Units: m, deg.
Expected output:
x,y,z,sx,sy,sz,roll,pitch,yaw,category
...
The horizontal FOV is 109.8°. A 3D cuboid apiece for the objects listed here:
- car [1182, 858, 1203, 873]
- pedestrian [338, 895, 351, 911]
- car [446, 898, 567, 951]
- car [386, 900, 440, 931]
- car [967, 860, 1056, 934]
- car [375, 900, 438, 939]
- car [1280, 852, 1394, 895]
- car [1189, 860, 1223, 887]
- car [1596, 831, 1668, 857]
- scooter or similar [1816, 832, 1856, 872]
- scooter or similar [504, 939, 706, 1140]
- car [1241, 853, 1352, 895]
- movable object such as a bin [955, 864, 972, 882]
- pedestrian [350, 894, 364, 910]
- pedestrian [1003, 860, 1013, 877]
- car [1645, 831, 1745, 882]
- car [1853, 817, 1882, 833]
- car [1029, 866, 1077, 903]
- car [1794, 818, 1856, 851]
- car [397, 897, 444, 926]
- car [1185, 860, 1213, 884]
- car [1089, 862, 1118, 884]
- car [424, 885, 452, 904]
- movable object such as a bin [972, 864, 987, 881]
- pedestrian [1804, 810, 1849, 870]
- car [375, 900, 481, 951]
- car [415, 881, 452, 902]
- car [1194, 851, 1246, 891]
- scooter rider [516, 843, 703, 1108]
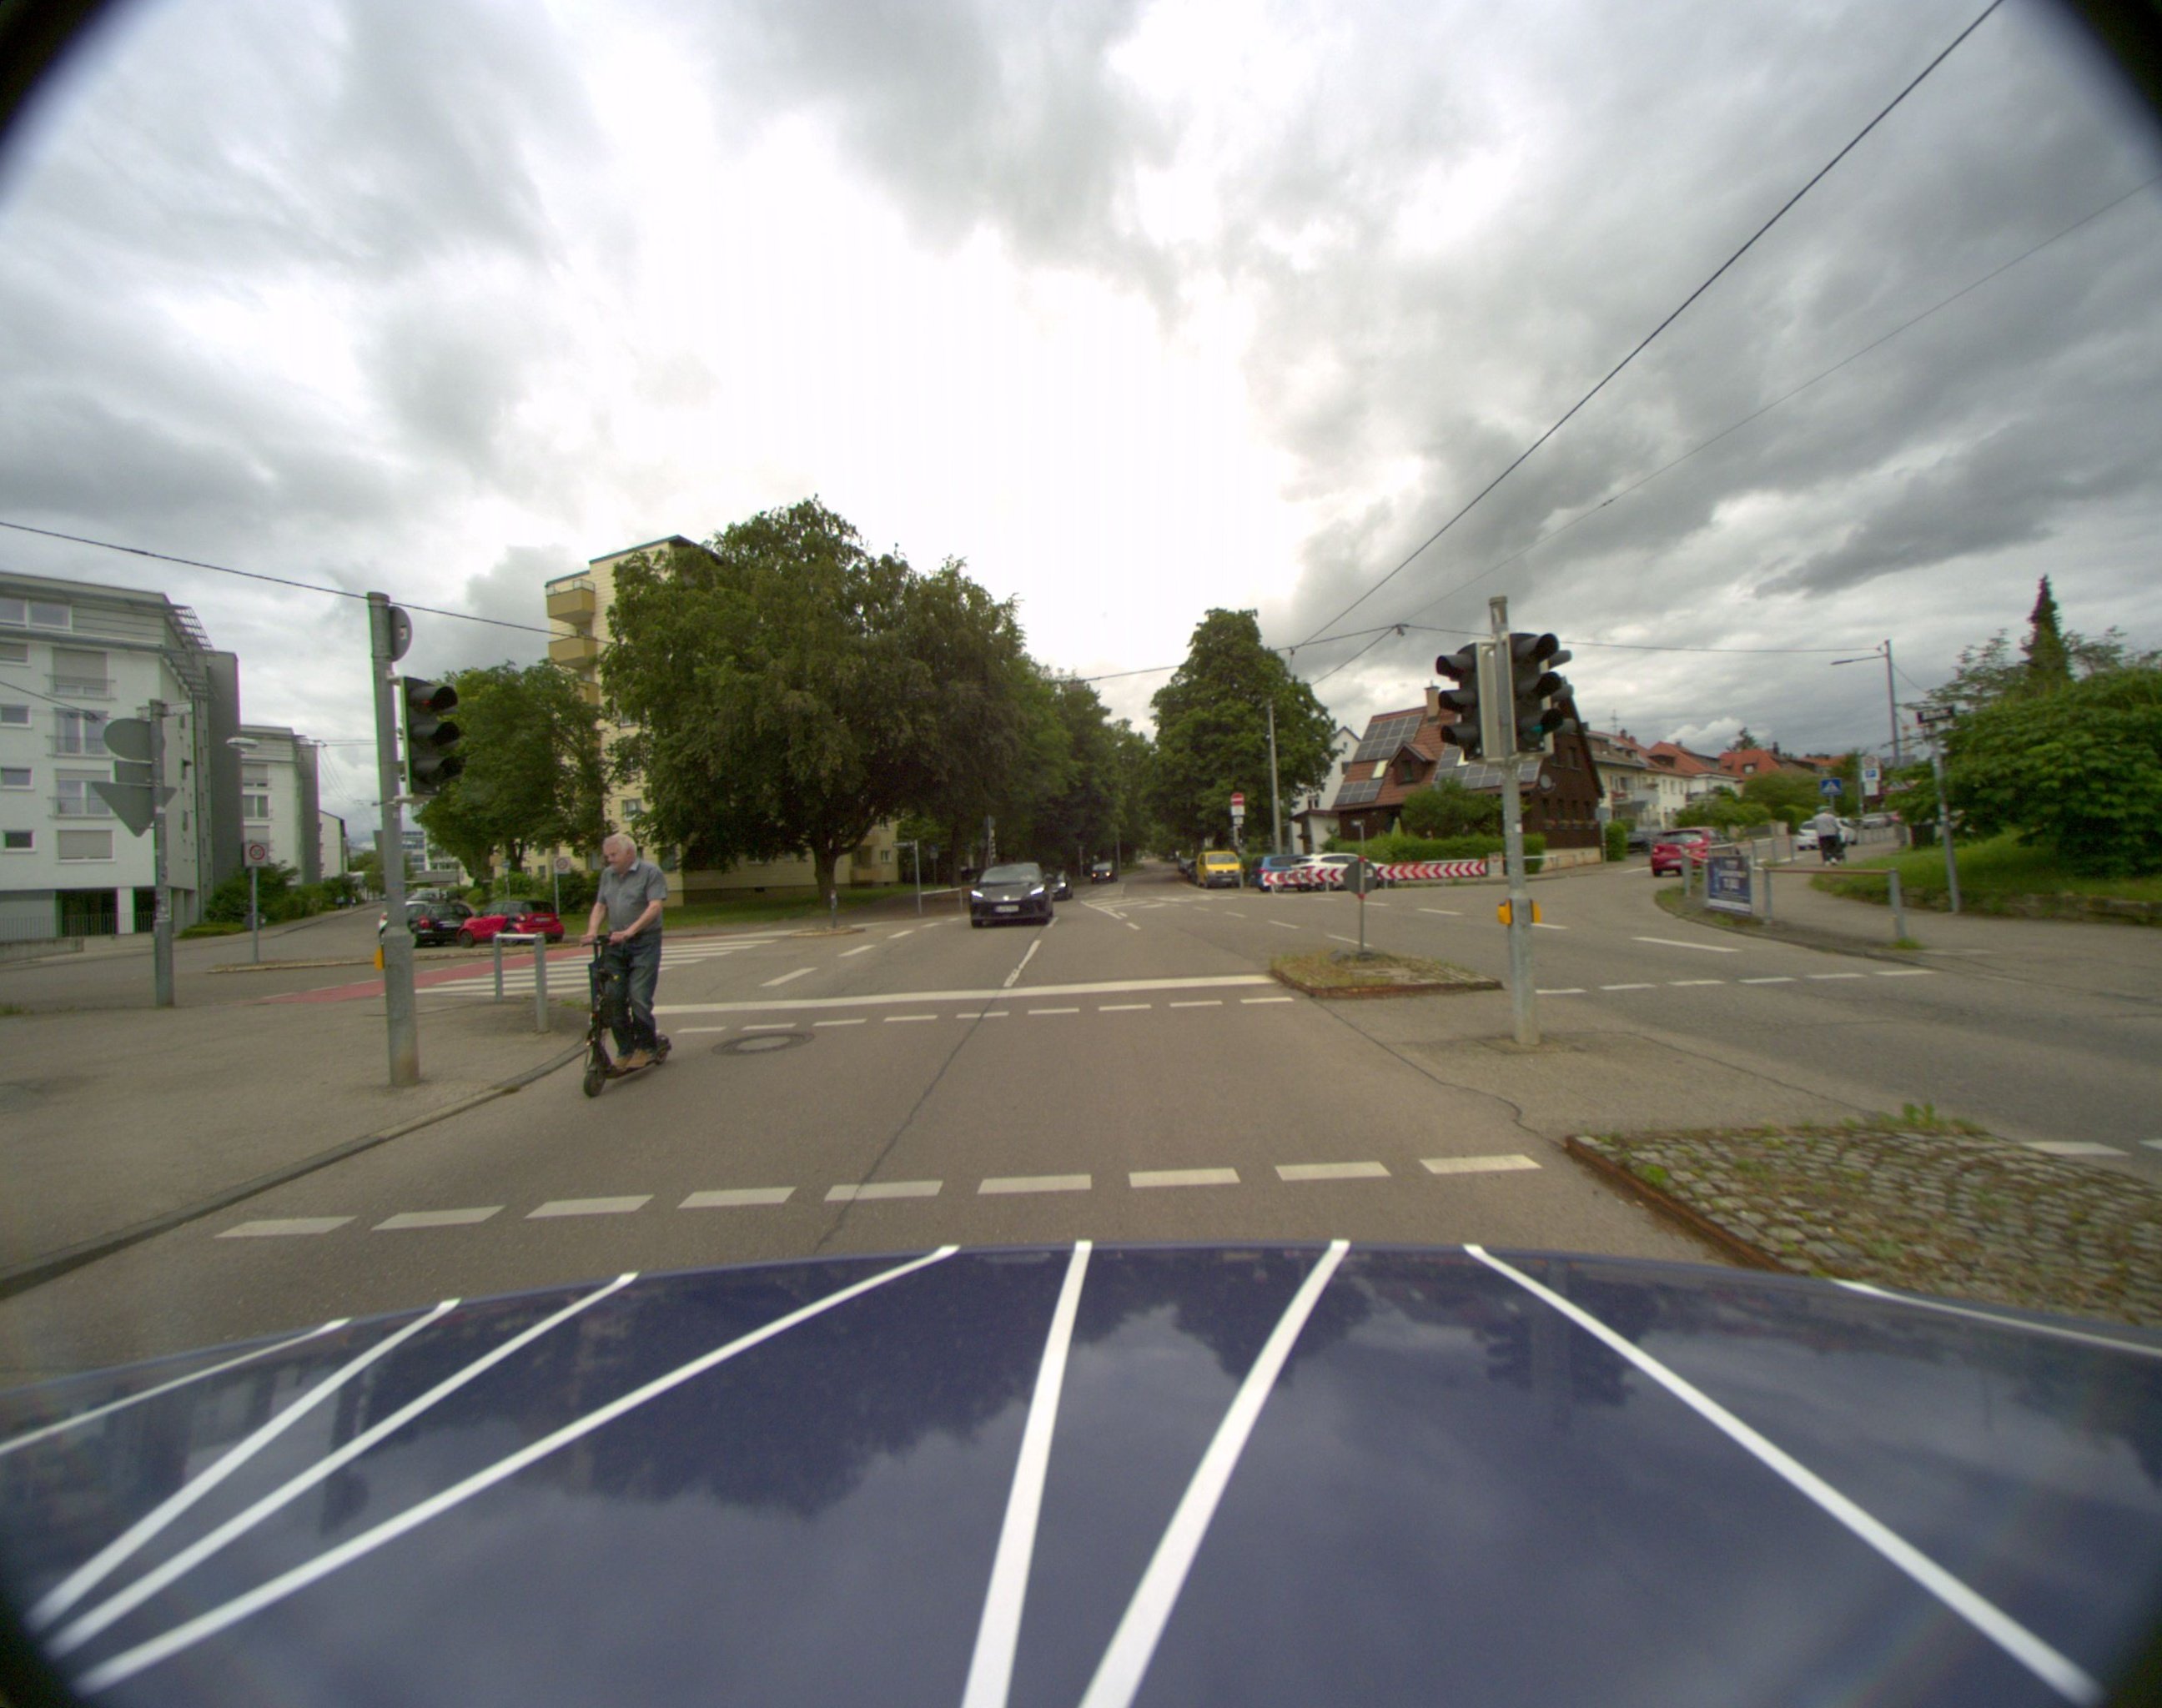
x,y,z,sx,sy,sz,roll,pitch,yaw,category
10.689,1.080,72.388,1.851,1.368,4.597,-3,-1,9,car
-70.251,4.662,72.459,0.710,1.482,0.710,-4,1,35,pedestrian
-19.223,2.340,25.482,2.916,1.497,1.698,-4,-2,12,car
-34.018,3.100,38.767,1.798,1.346,4.061,-2,-1,-38,car
-1.618,1.016,18.976,1.804,1.541,4.299,-3,-2,-1,car
-30.077,2.881,33.982,1.798,1.425,4.061,-2,-1,-38,car
10.270,0.789,30.613,3.905,1.463,1.844,-3,-1,-11,car
7.695,1.172,46.994,1.749,1.442,4.515,-3,0,6,car
36.040,-0.635,49.756,1.594,1.480,3.434,-2,-2,-39,car
22.312,-0.062,22.448,0.891,1.088,0.611,-5,1,-33,scooter or similar
-3.433,1.276,5.642,0.683,1.132,1.459,-3,-1,-8,scooter or similar
9.269,0.870,32.885,4.177,1.537,1.845,-3,-1,-3,car
-11.512,1.857,74.687,1.434,1.633,1.020,-1,1,4,movable object such as a bin
-69.935,4.631,73.395,0.710,1.482,0.710,-4,1,36,pedestrian
-6.296,1.250,65.545,0.688,1.373,0.606,-3,1,7,pedestrian
19.895,0.069,24.585,3.691,1.480,1.771,-2,-2,-40,car
81.870,-3.013,79.089,3.691,1.480,1.771,-2,-2,-40,car
-1.295,1.432,36.973,1.814,1.520,4.000,-3,1,4,car
37.187,-0.985,37.948,3.691,1.480,1.771,-2,-2,-40,car
-37.320,3.213,43.002,1.798,1.404,4.061,-2,-1,-38,car
8.048,1.169,52.135,1.748,1.442,4.596,-3,0,7,car
1.849,1.508,60.514,1.998,1.586,4.002,-3,0,5,car
-59.043,3.700,69.805,1.798,1.571,4.061,-2,-1,-38,car
-9.975,1.823,74.558,1.277,1.633,1.020,-1,1,4,movable object such as a bin
21.527,-0.395,21.951,0.832,1.643,0.688,-5,1,-33,pedestrian
-23.599,2.589,27.454,3.816,1.581,1.822,-4,0,33,car
-46.728,2.698,54.899,1.798,1.404,4.061,-2,-1,-38,car
7.434,0.876,41.026,1.921,1.977,4.801,-3,0,1,car
-3.446,0.822,5.677,0.683,1.719,1.196,-3,-1,-8,scooter rider
